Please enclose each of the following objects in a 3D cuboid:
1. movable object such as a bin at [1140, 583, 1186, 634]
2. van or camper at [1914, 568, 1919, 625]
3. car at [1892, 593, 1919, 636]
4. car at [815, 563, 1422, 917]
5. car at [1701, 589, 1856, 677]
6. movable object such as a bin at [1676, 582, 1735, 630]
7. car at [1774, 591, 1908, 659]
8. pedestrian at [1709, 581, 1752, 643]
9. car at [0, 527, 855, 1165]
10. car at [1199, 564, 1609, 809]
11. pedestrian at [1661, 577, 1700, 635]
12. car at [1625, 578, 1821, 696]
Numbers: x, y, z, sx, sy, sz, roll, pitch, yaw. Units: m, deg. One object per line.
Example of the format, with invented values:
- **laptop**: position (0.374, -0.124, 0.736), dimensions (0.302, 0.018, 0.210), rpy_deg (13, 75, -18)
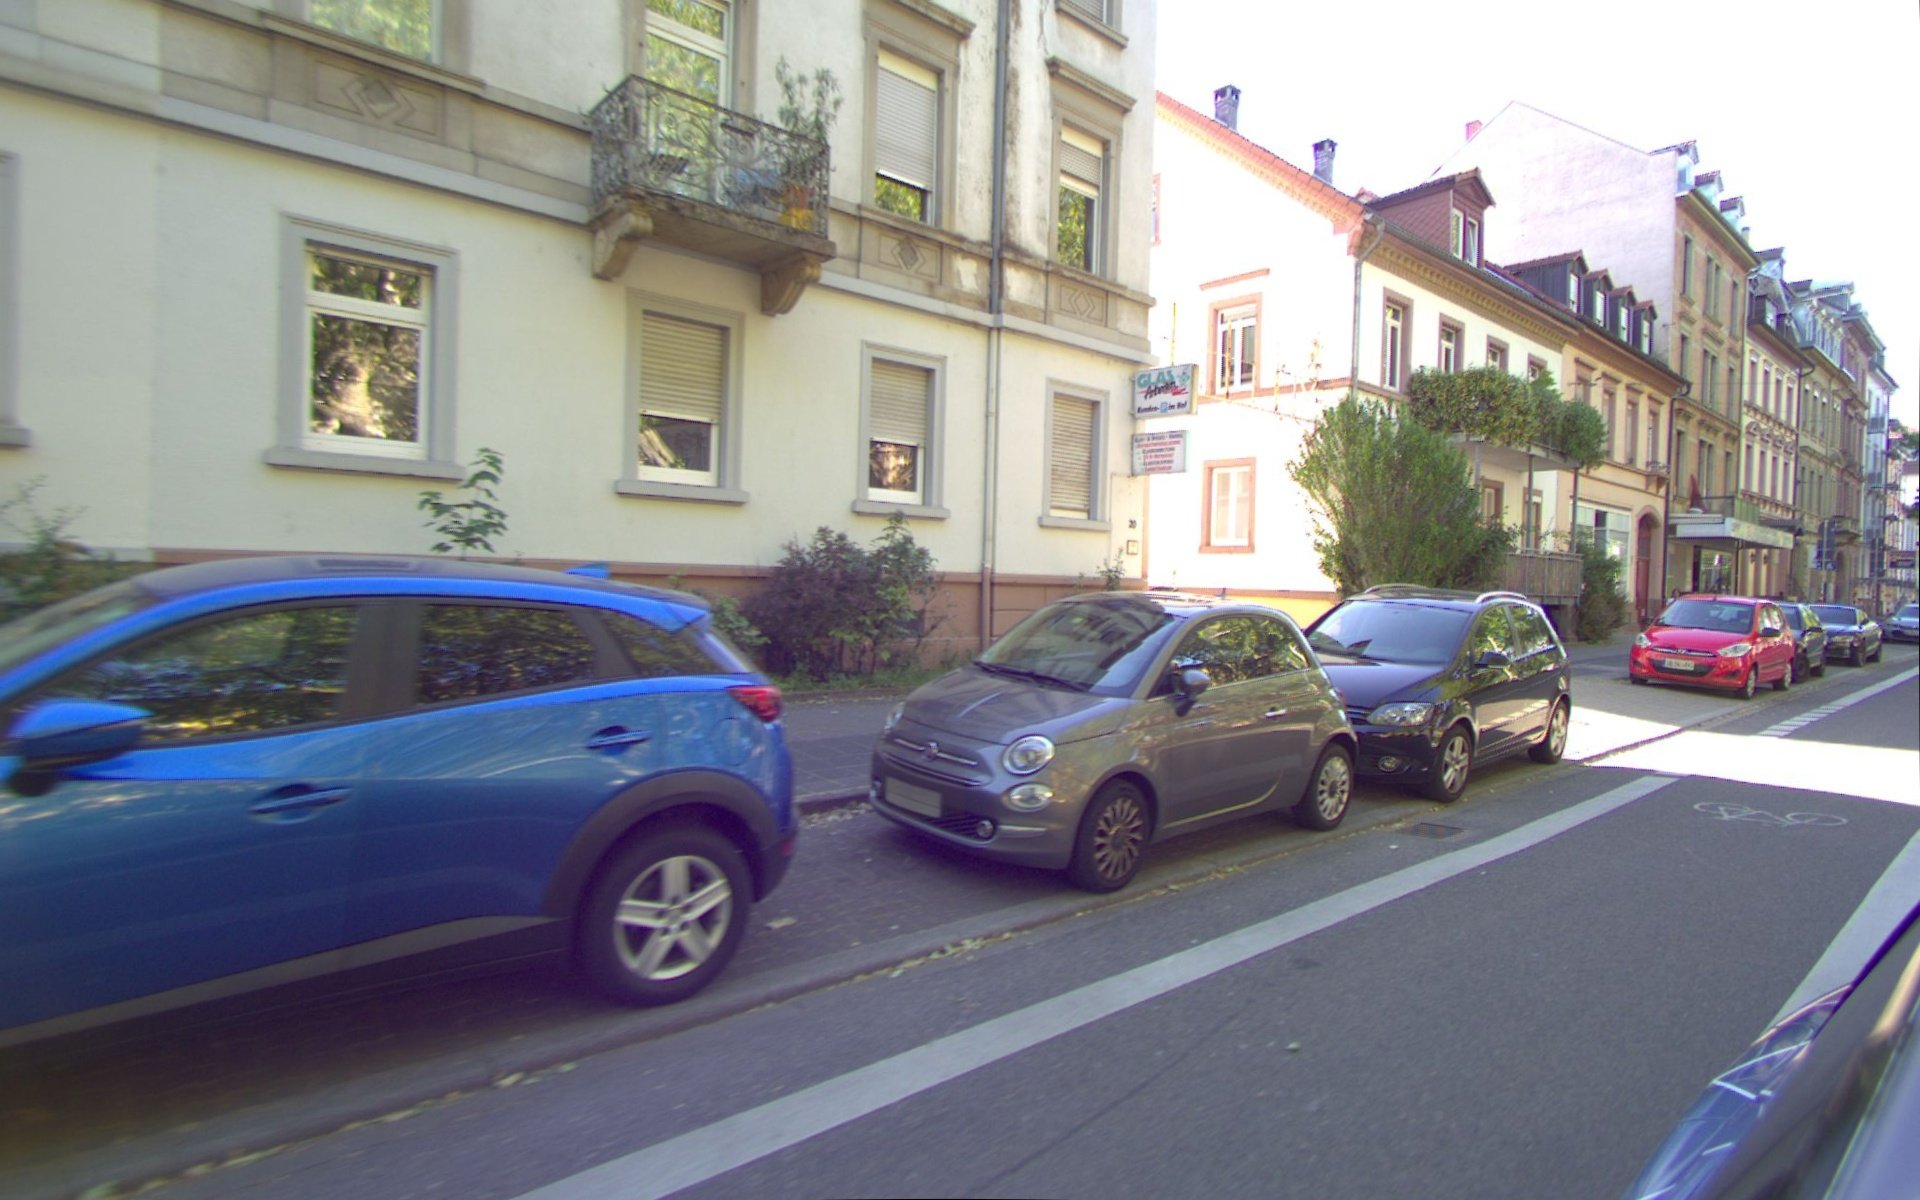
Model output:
- **movable object such as a bin**: position (4.422, 0.171, 22.073), dimensions (0.781, 1.039, 0.629), rpy_deg (-6, 5, -42)
- **van or camper**: position (45.953, -0.322, 46.123), dimensions (7.743, 3.007, 2.485), rpy_deg (0, 5, -40)
- **car**: position (35.291, 0.539, 36.614), dimensions (4.584, 1.452, 1.813), rpy_deg (0, 3, -41)
- **car**: position (1.159, 0.591, 6.412), dimensions (3.703, 1.473, 1.803), rpy_deg (0, 5, -42)
- **car**: position (15.938, 0.557, 19.650), dimensions (3.801, 1.474, 1.654), rpy_deg (0, 3, -41)
- **movable object such as a bin**: position (24.618, 0.176, 33.419), dimensions (1.264, 1.539, 1.296), rpy_deg (0, 1, -41)
- **car**: position (21.152, 0.536, 24.244), dimensions (4.414, 1.409, 1.698), rpy_deg (0, 3, -40)
- **pedestrian**: position (19.604, 0.290, 25.760), dimensions (0.851, 1.523, 0.661), rpy_deg (0, 2, -42)
- **car**: position (-2.553, 0.550, 3.422), dimensions (3.954, 1.473, 1.886), rpy_deg (0, 5, -40)
- **car**: position (4.104, 0.572, 9.095), dimensions (3.866, 1.604, 1.884), rpy_deg (-1, 5, -43)
- **pedestrian**: position (18.864, 0.150, 26.507), dimensions (0.772, 1.501, 0.659), rpy_deg (0, 1, -42)
- **car**: position (12.524, 0.520, 16.557), dimensions (3.512, 1.564, 1.640), rpy_deg (0, 7, -40)
